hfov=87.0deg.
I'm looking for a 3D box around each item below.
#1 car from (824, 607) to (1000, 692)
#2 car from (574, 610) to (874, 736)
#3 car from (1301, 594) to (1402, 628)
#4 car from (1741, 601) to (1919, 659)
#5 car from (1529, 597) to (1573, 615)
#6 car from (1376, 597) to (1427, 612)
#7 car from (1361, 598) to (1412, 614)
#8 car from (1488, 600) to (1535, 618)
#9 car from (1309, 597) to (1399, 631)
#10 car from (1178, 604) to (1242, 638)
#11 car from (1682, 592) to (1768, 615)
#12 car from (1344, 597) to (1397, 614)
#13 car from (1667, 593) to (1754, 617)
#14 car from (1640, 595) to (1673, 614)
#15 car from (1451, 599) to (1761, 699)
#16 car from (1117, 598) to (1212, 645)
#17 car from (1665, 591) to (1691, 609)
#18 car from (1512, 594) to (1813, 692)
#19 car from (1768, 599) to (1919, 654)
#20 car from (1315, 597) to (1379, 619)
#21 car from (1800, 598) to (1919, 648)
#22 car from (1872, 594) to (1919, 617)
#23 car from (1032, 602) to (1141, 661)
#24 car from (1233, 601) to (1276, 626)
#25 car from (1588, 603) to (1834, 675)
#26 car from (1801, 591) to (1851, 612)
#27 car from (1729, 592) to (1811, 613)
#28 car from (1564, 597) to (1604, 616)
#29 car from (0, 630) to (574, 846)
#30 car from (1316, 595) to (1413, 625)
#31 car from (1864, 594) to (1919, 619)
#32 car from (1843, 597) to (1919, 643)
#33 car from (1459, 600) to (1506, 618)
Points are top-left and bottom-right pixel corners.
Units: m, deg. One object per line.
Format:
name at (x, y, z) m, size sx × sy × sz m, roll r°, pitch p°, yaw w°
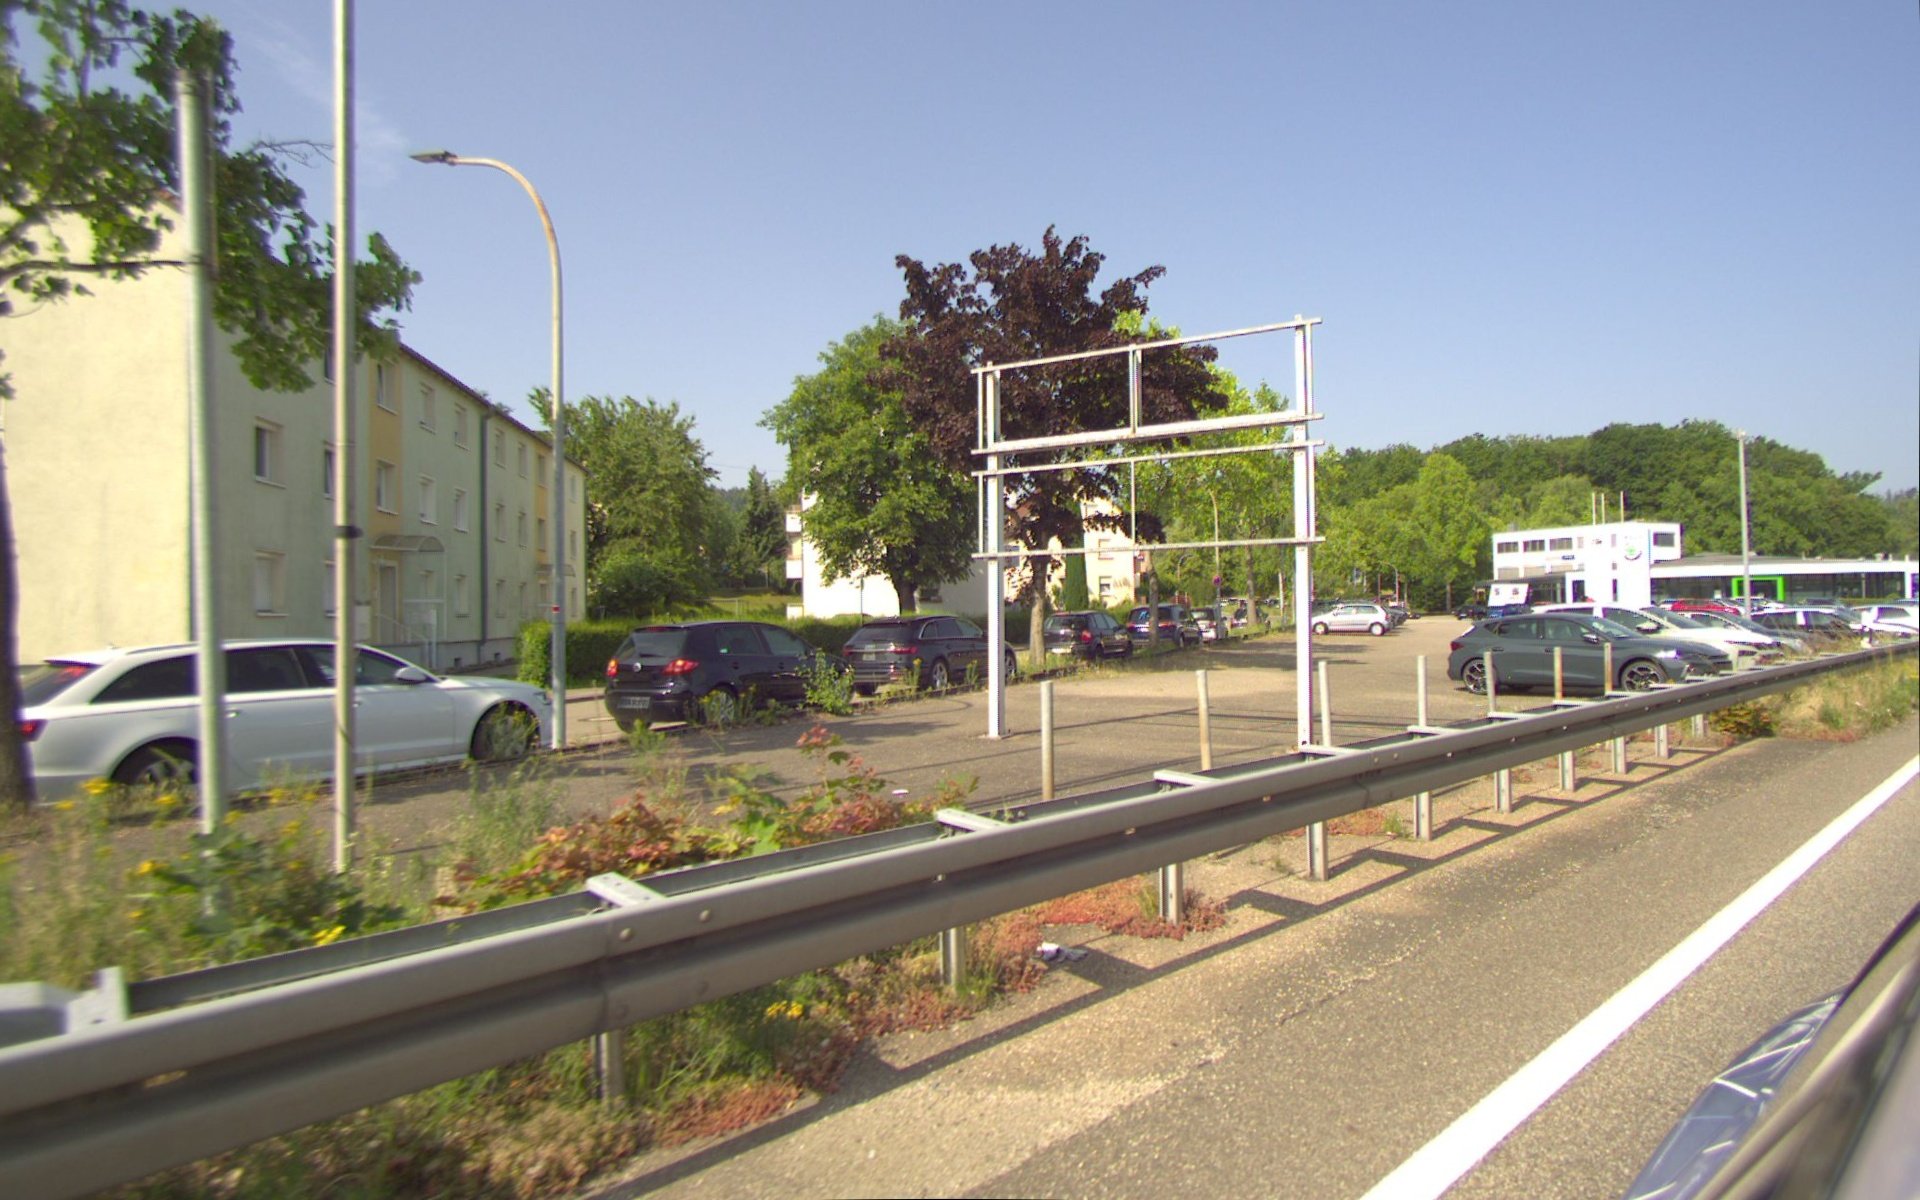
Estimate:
car at (-0.802, 0.846, 19.088) m, size 1.694 × 1.423 × 3.625 m, roll 0°, pitch 0°, yaw 29°
car at (-3.167, 0.903, 14.547) m, size 1.694 × 1.423 × 4.439 m, roll 0°, pitch 0°, yaw 29°
car at (19.449, 0.532, 50.277) m, size 4.460 × 1.620 × 1.822 m, roll 0°, pitch 0°, yaw 31°
car at (25.435, 0.810, 29.425) m, size 1.666 × 1.541 × 3.999 m, roll -1°, pitch 0°, yaw -36°
car at (55.647, 0.553, 95.278) m, size 4.525 × 1.565 × 2.003 m, roll -1°, pitch 1°, yaw -37°
car at (47.492, 0.457, 108.895) m, size 1.745 × 1.565 × 4.745 m, roll -1°, pitch 1°, yaw -40°
car at (45.303, 0.571, 107.522) m, size 1.745 × 1.565 × 4.745 m, roll -1°, pitch 1°, yaw -40°
car at (50.819, 0.796, 93.279) m, size 4.374 × 1.565 × 1.842 m, roll -1°, pitch 1°, yaw -31°
car at (18.100, 0.619, 46.536) m, size 3.730 × 1.541 × 1.641 m, roll 0°, pitch 0°, yaw 28°
car at (9.938, 0.799, 40.124) m, size 1.580 × 1.201 × 3.625 m, roll 0°, pitch 0°, yaw 29°
car at (57.066, 0.237, 75.540) m, size 1.893 × 1.584 × 4.757 m, roll -1°, pitch 1°, yaw -30°
car at (41.931, 0.567, 103.343) m, size 4.734 × 1.565 × 1.749 m, roll 1°, pitch 1°, yaw 43°
car at (54.777, 0.331, 73.998) m, size 1.893 × 1.584 × 4.757 m, roll -1°, pitch 1°, yaw -30°
car at (61.108, 0.347, 88.814) m, size 1.994 × 1.565 × 4.545 m, roll 1°, pitch 1°, yaw 40°
car at (11.158, 0.805, 17.763) m, size 1.846 × 1.502 × 4.162 m, roll -1°, pitch -1°, yaw -34°
car at (6.976, 0.671, 34.132) m, size 1.897 × 1.423 × 4.479 m, roll 0°, pitch 1°, yaw 29°
car at (68.851, -0.030, 97.014) m, size 1.782 × 1.584 × 4.296 m, roll 1°, pitch 1°, yaw 39°
car at (13.463, 0.722, 19.689) m, size 2.097 × 1.660 × 4.339 m, roll -1°, pitch 0°, yaw -28°
car at (27.895, 0.766, 31.604) m, size 1.773 × 1.588 × 3.858 m, roll -1°, pitch 0°, yaw -36°
car at (31.601, 0.648, 82.654) m, size 4.713 × 1.654 × 1.911 m, roll 1°, pitch 1°, yaw 31°
car at (31.347, 0.746, 34.450) m, size 1.747 × 1.600 × 3.994 m, roll -1°, pitch 0°, yaw -40°
car at (64.816, 0.366, 68.606) m, size 1.789 × 1.535 × 4.108 m, roll -1°, pitch 0°, yaw -32°
car at (3.403, 0.778, 26.696) m, size 1.641 × 1.384 × 3.625 m, roll 0°, pitch 0°, yaw 29°
car at (15.012, 0.668, 51.540) m, size 1.577 × 1.201 × 3.631 m, roll 0°, pitch 0°, yaw 25°
car at (17.250, 0.821, 23.447) m, size 1.599 × 1.462 × 4.330 m, roll -1°, pitch 0°, yaw -38°
car at (70.716, 0.089, 82.728) m, size 1.911 × 1.584 × 4.712 m, roll 0°, pitch 1°, yaw 25°
car at (64.380, 0.152, 80.497) m, size 1.893 × 1.584 × 4.757 m, roll -1°, pitch 1°, yaw -30°
car at (57.343, 0.561, 92.971) m, size 4.531 × 1.565 × 2.000 m, roll -1°, pitch 1°, yaw -42°
car at (-6.124, 1.064, 9.633) m, size 1.777 × 1.438 × 4.384 m, roll 0°, pitch 0°, yaw 34°
car at (22.135, 0.523, 55.432) m, size 4.611 × 1.541 × 1.838 m, roll 0°, pitch 0°, yaw 38°
car at (62.713, 0.436, 66.861) m, size 1.790 × 1.535 × 4.169 m, roll -1°, pitch 1°, yaw -36°
car at (35.938, 0.726, 37.930) m, size 1.852 × 1.660 × 3.999 m, roll -1°, pitch 0°, yaw -36°
car at (49.406, 0.803, 95.679) m, size 4.373 × 1.565 × 1.842 m, roll -1°, pitch 1°, yaw -29°
